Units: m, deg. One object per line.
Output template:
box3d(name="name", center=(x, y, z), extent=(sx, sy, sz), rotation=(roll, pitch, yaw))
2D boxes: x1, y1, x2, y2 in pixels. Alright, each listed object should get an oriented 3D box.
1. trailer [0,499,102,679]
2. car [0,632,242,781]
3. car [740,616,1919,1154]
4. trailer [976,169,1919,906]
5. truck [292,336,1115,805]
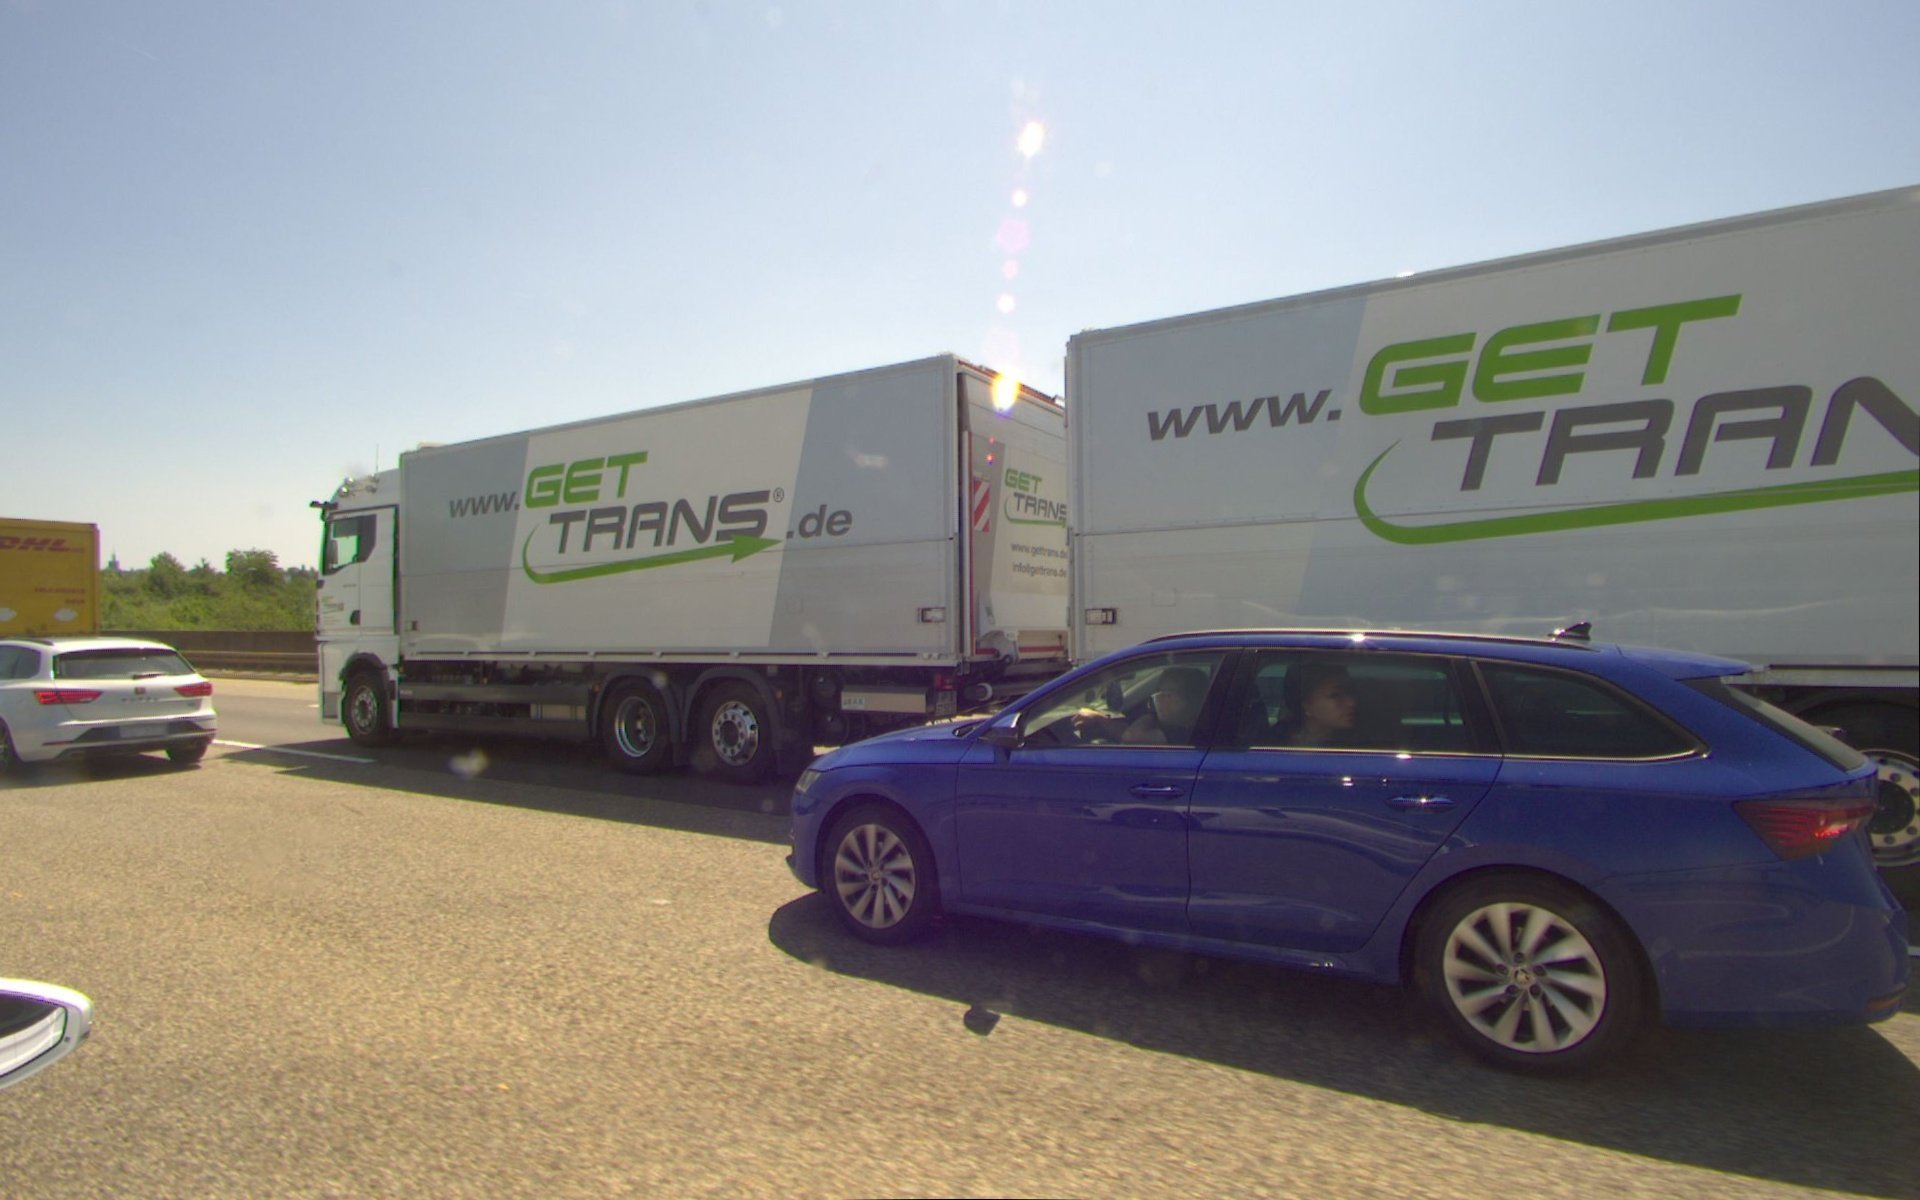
box3d(name="trailer", center=(-25.193, -0.113, 25.432), extent=(8.804, 4.074, 2.697), rotation=(-2, -2, 32))
box3d(name="car", center=(-10.156, 1.079, 11.433), extent=(4.128, 1.405, 1.778), rotation=(-1, -1, 32))
box3d(name="car", center=(1.217, 0.829, 4.593), extent=(4.435, 1.459, 1.707), rotation=(-1, -1, 32))
box3d(name="trailer", center=(4.330, -0.254, 6.868), extent=(8.171, 3.640, 2.840), rotation=(-1, -2, 32))
box3d(name="truck", center=(-3.664, -0.064, 11.803), extent=(10.614, 3.648, 2.847), rotation=(-2, -2, 32))
